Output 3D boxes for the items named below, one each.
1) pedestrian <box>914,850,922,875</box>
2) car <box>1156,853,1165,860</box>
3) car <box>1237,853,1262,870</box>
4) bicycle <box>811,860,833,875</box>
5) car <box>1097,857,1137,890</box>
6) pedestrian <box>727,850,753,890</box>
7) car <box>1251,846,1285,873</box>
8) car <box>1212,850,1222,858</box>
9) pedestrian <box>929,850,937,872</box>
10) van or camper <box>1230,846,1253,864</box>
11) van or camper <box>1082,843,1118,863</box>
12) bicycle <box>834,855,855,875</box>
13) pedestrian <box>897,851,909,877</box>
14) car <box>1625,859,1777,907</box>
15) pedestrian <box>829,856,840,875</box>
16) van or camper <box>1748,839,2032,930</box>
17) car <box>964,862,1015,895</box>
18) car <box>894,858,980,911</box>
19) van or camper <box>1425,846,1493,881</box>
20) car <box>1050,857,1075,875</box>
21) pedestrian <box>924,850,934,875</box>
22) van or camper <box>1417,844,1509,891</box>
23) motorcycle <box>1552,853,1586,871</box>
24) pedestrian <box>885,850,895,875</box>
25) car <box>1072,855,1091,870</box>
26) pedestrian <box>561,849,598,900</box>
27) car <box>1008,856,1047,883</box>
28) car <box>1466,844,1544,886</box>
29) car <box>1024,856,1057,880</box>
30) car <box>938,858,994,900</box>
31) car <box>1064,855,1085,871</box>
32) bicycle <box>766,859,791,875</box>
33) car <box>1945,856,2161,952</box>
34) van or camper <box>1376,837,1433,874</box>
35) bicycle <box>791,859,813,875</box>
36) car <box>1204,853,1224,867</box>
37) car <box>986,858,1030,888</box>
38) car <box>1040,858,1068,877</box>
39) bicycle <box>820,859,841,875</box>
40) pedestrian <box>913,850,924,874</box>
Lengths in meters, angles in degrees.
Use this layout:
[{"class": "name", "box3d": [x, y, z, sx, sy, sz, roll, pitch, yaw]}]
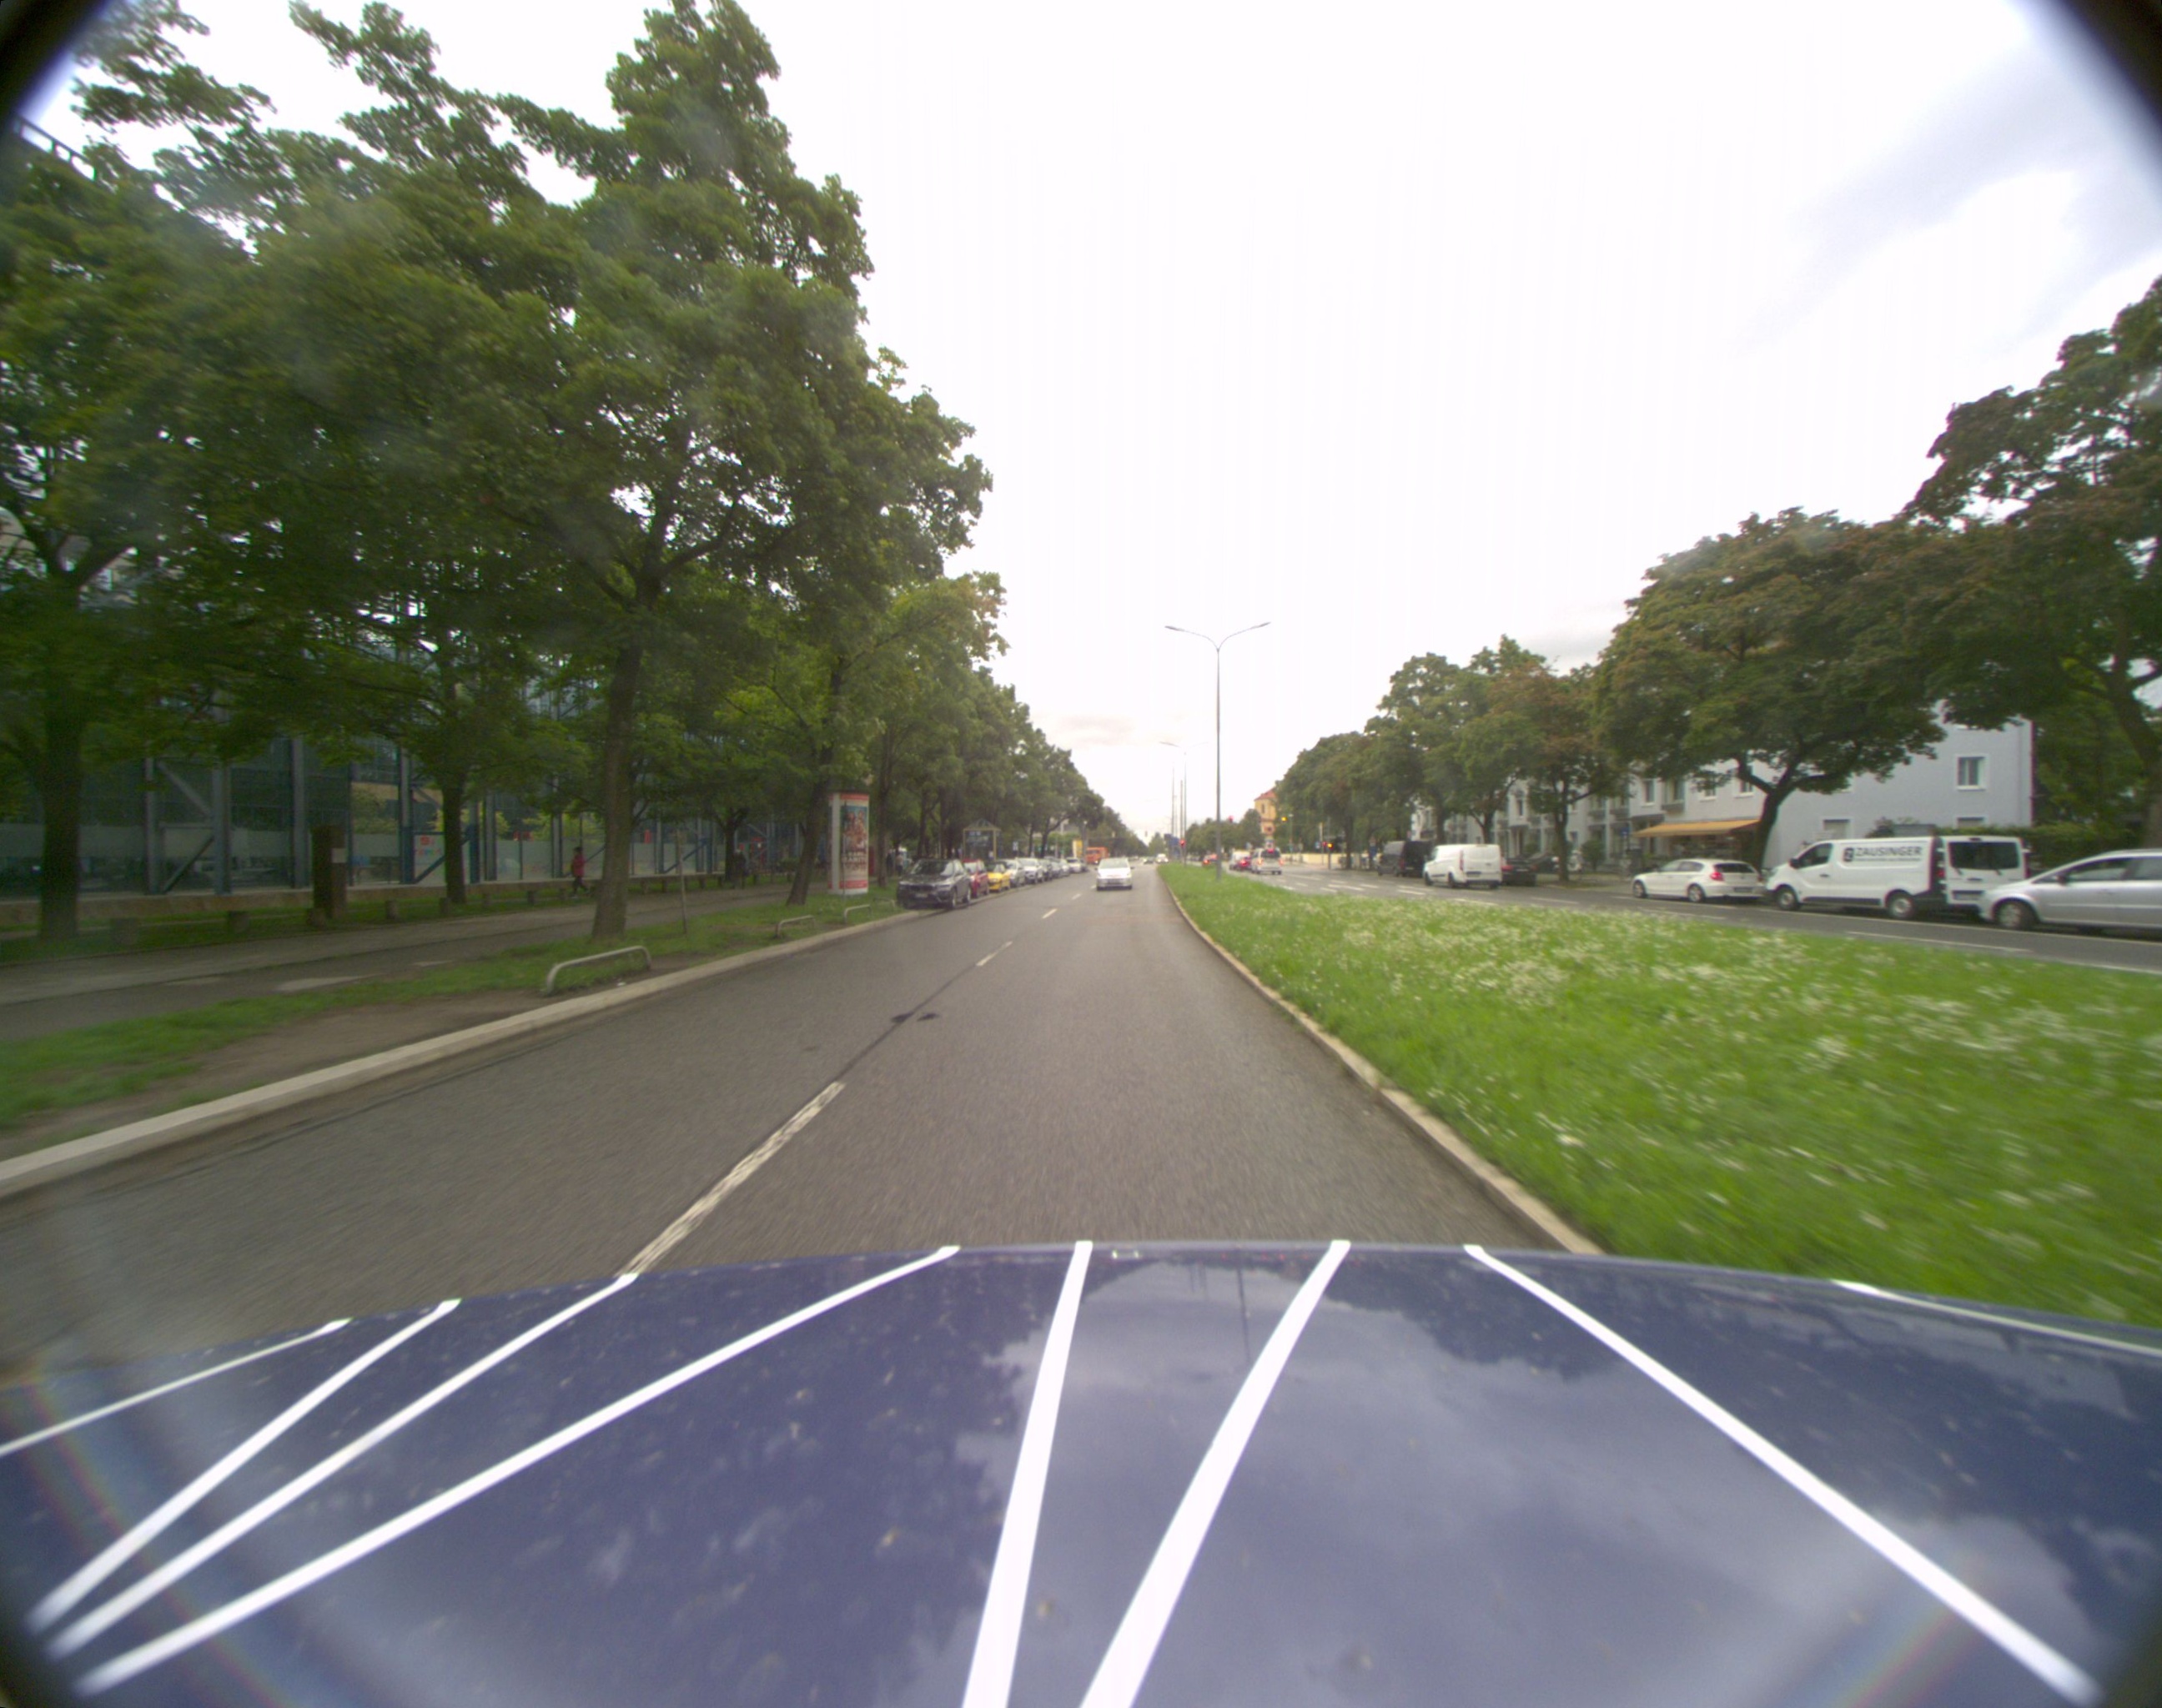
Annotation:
[{"class": "pedestrian", "box3d": [-10.981, 0.601, 51.120, 0.433, 1.680, 0.350, 0, 1, 11]}, {"class": "car", "box3d": [15.139, 0.427, 144.948, 1.589, 1.259, 3.736, 0, 0, 6]}, {"class": "car", "box3d": [15.182, 0.658, 68.499, 1.795, 1.440, 3.673, 0, 0, 6]}, {"class": "bicycle", "box3d": [-16.176, 0.839, 47.465, 0.512, 0.935, 2.142, 0, 0, 3]}, {"class": "car", "box3d": [1.727, 0.875, 35.809, 1.679, 1.434, 3.736, 0, 0, 6]}, {"class": "pedestrian", "box3d": [-14.214, 0.642, 31.705, 0.738, 1.636, 0.645, 2, 2, 10]}, {"class": "car", "box3d": [14.498, 0.419, 59.171, 1.944, 1.986, 4.706, 0, 0, 6]}, {"class": "car", "box3d": [33.012, 0.065, 184.337, 2.145, 1.878, 4.001, 0, 0, 4]}, {"class": "pedestrian", "box3d": [-11.858, 0.554, 60.765, 0.528, 1.713, 0.559, 1, 2, 0]}, {"class": "van or camper", "box3d": [16.221, 0.082, 76.969, 1.795, 1.787, 4.126, 0, 0, 6]}, {"class": "van or camper", "box3d": [3.475, -0.194, 135.911, 3.316, 3.533, 10.912, 0, 0, 19]}, {"class": "bicycle", "box3d": [-14.798, 0.657, 47.600, 0.512, 1.185, 2.142, 0, 1, 3]}, {"class": "pedestrian", "box3d": [-11.661, 0.647, 49.778, 0.612, 1.632, 0.435, 2, 2, 9]}, {"class": "car", "box3d": [20.260, 0.889, 25.094, 1.679, 1.386, 4.336, 0, 0, 4]}, {"class": "pedestrian", "box3d": [-15.204, 0.694, 46.960, 0.506, 1.172, 0.426, 1, 2, 4]}, {"class": "van or camper", "box3d": [19.660, 0.651, 18.936, 1.809, 1.956, 5.212, 0, 0, 5]}, {"class": "car", "box3d": [-4.204, 1.079, 35.391, 1.626, 1.373, 4.195, 0, 0, 3]}, {"class": "car", "box3d": [-4.775, 0.955, 25.801, 1.865, 1.581, 4.603, 0, 0, 2]}, {"class": "van or camper", "box3d": [22.148, 0.512, 44.740, 2.025, 1.930, 4.706, 0, 0, 6]}, {"class": "car", "box3d": [-1.479, 0.936, 62.032, 1.589, 1.395, 3.736, 0, 0, 6]}, {"class": "pedestrian", "box3d": [-10.512, 0.574, 52.703, 0.528, 1.713, 0.660, 1, 2, 0]}, {"class": "van or camper", "box3d": [17.351, 0.550, 34.853, 2.020, 2.004, 5.200, 0, 0, 5]}, {"class": "motorcycle", "box3d": [30.679, 0.497, 47.738, 1.813, 1.164, 0.464, 0, 1, 1]}, {"class": "pedestrian", "box3d": [-12.497, 0.571, 49.771, 0.506, 1.619, 0.426, 1, 2, 0]}, {"class": "car", "box3d": [0.076, 0.838, 78.374, 1.589, 1.495, 3.736, 0, 0, 6]}, {"class": "pedestrian", "box3d": [-16.427, 0.650, 24.881, 0.737, 1.636, 0.865, 3, 2, 44]}, {"class": "car", "box3d": [-3.163, 0.914, 45.528, 1.682, 1.522, 4.097, 0, 0, 6]}, {"class": "car", "box3d": [21.507, 0.523, 38.737, 1.800, 1.986, 4.548, 0, 0, 6]}, {"class": "car", "box3d": [-2.678, 0.903, 50.703, 1.682, 1.497, 3.736, 0, 0, 6]}, {"class": "car", "box3d": [-4.583, 0.950, 30.673, 1.554, 1.564, 3.625, 0, 0, 2]}, {"class": "car", "box3d": [-0.571, 0.829, 72.977, 1.589, 1.495, 3.736, 0, 0, 6]}, {"class": "bicycle", "box3d": [-18.249, 0.770, 45.828, 0.571, 0.935, 2.064, 0, 1, 3]}, {"class": "car", "box3d": [19.052, 0.844, 13.618, 1.703, 1.606, 4.663, 0, 0, -3]}, {"class": "van or camper", "box3d": [22.946, 0.105, 54.215, 2.054, 2.472, 5.550, 0, 0, 4]}, {"class": "bicycle", "box3d": [-17.069, 0.801, 46.502, 0.618, 0.935, 1.763, 0, 0, 3]}, {"class": "car", "box3d": [13.837, 0.574, 78.989, 1.761, 1.440, 3.673, 0, 0, 6]}, {"class": "car", "box3d": [-3.804, 0.978, 40.185, 1.626, 1.466, 3.897, 0, 0, 6]}, {"class": "car", "box3d": [-1.985, 0.974, 56.176, 1.589, 1.310, 3.736, 0, 0, 6]}, {"class": "bicycle", "box3d": [-15.639, 0.815, 47.508, 0.512, 0.935, 2.142, 0, 0, 3]}, {"class": "pedestrian", "box3d": [-11.285, 0.557, 52.729, 0.612, 1.680, 0.612, 1, 2, 0]}]
